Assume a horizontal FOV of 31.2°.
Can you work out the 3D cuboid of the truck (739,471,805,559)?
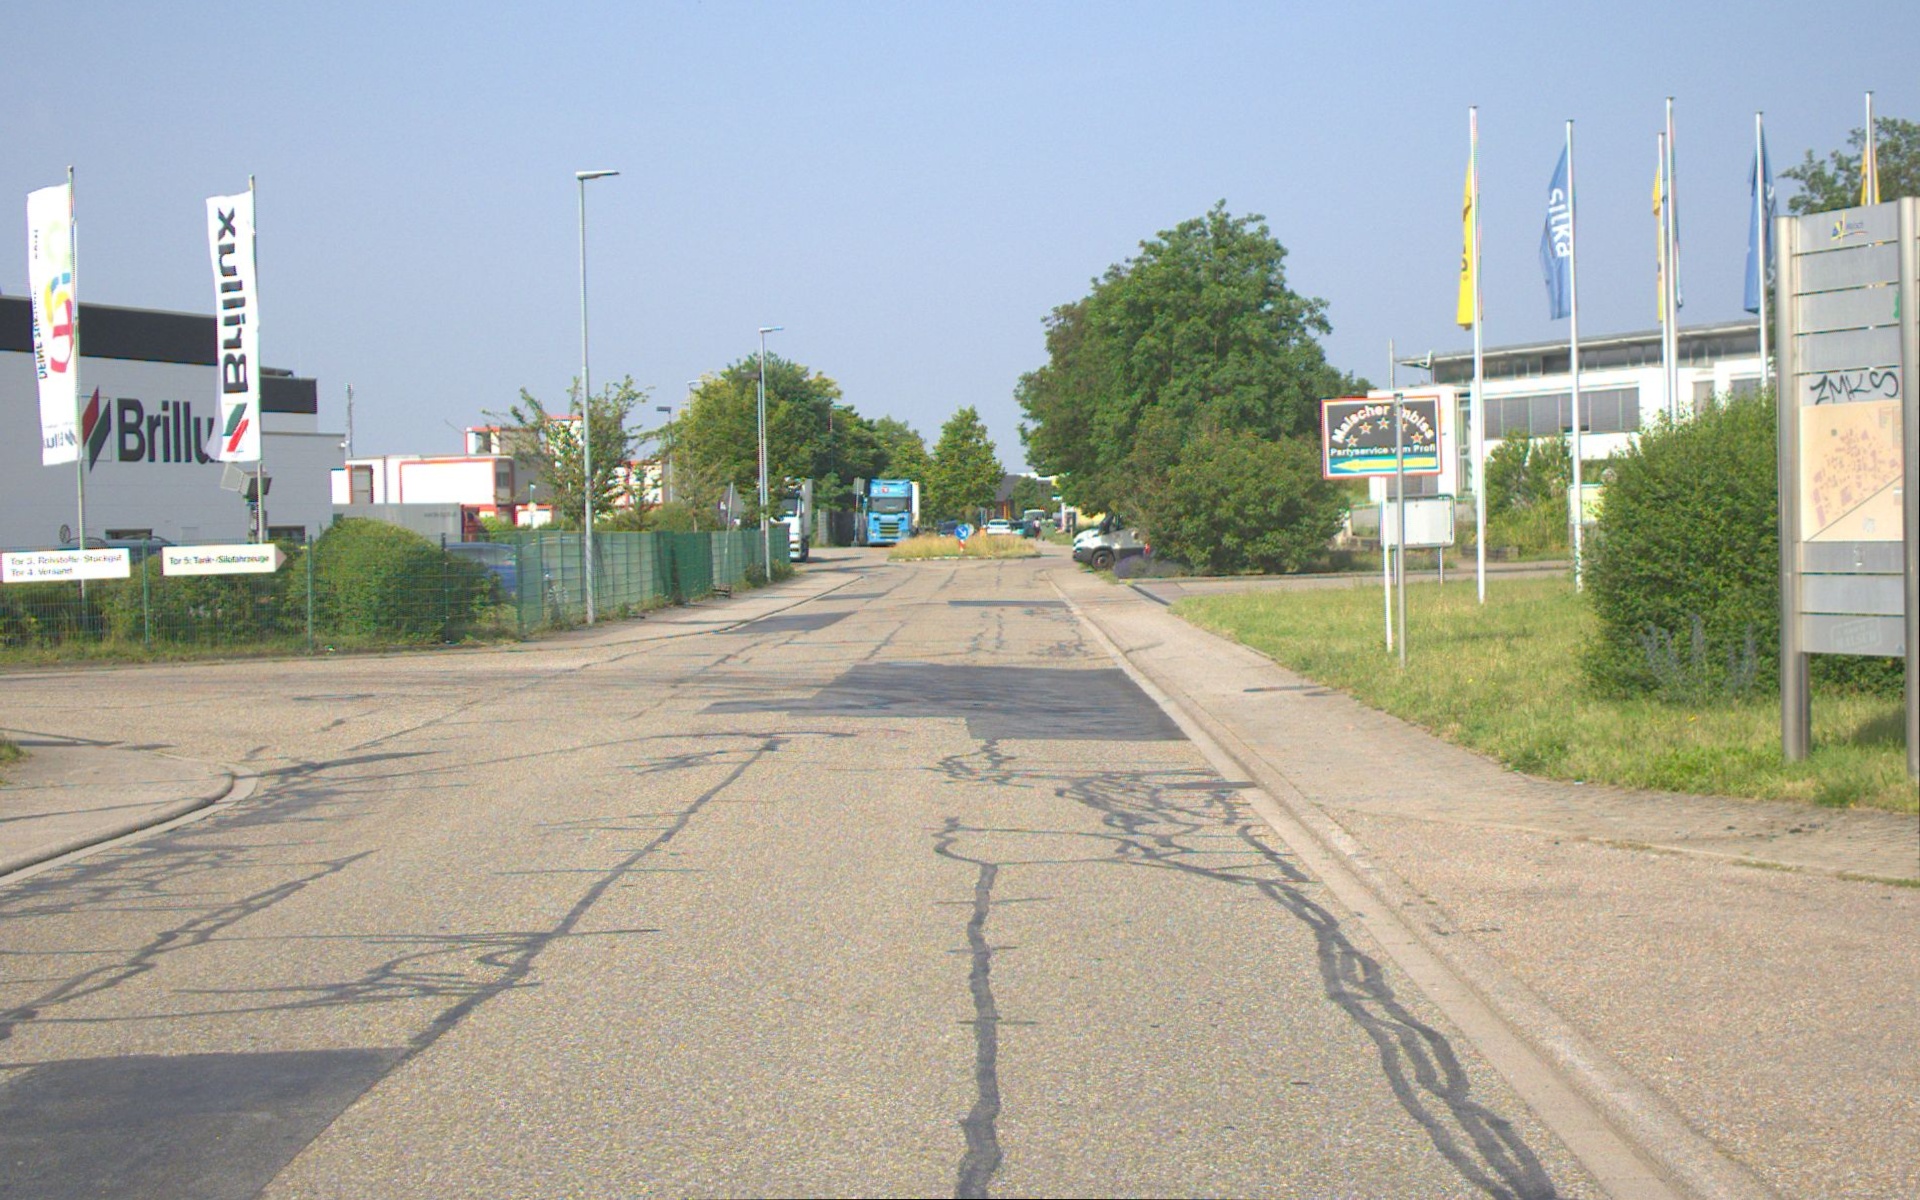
[{"bbox_3d":[-8.519,-3.849,156.352,2.708,3.908,4.297,1,0,0],"label":"truck"}]

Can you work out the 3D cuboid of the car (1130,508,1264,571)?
[{"bbox_3d":[7.259,-1.862,105.542,3.987,1.831,2.000,-1,1,2],"label":"car"}]

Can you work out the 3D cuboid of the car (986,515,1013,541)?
[{"bbox_3d":[2.682,-4.922,235.653,1.718,1.655,3.824,1,0,-1],"label":"car"}]

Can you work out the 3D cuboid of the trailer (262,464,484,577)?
[{"bbox_3d":[-22.344,-2.954,131.997,2.484,4.028,13.877,1,0,16],"label":"trailer"}]

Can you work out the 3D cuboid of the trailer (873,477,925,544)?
[{"bbox_3d":[-3.695,-5.400,210.603,2.831,3.829,12.036,1,0,0],"label":"trailer"}]

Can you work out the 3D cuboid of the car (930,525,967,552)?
[{"bbox_3d":[-0.680,-3.535,197.846,1.993,1.444,4.420,-3,1,-1],"label":"car"}]

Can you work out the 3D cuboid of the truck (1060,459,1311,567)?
[{"bbox_3d":[7.566,-2.927,116.162,8.208,3.358,2.741,-2,0,0],"label":"truck"}]

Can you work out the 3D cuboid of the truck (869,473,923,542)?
[{"bbox_3d":[-3.701,-5.329,200.505,2.825,3.812,9.673,1,0,0],"label":"truck"}]

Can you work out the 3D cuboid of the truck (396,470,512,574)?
[{"bbox_3d":[-20.387,-3.109,138.799,2.515,4.057,5.539,1,0,16],"label":"truck"}]
